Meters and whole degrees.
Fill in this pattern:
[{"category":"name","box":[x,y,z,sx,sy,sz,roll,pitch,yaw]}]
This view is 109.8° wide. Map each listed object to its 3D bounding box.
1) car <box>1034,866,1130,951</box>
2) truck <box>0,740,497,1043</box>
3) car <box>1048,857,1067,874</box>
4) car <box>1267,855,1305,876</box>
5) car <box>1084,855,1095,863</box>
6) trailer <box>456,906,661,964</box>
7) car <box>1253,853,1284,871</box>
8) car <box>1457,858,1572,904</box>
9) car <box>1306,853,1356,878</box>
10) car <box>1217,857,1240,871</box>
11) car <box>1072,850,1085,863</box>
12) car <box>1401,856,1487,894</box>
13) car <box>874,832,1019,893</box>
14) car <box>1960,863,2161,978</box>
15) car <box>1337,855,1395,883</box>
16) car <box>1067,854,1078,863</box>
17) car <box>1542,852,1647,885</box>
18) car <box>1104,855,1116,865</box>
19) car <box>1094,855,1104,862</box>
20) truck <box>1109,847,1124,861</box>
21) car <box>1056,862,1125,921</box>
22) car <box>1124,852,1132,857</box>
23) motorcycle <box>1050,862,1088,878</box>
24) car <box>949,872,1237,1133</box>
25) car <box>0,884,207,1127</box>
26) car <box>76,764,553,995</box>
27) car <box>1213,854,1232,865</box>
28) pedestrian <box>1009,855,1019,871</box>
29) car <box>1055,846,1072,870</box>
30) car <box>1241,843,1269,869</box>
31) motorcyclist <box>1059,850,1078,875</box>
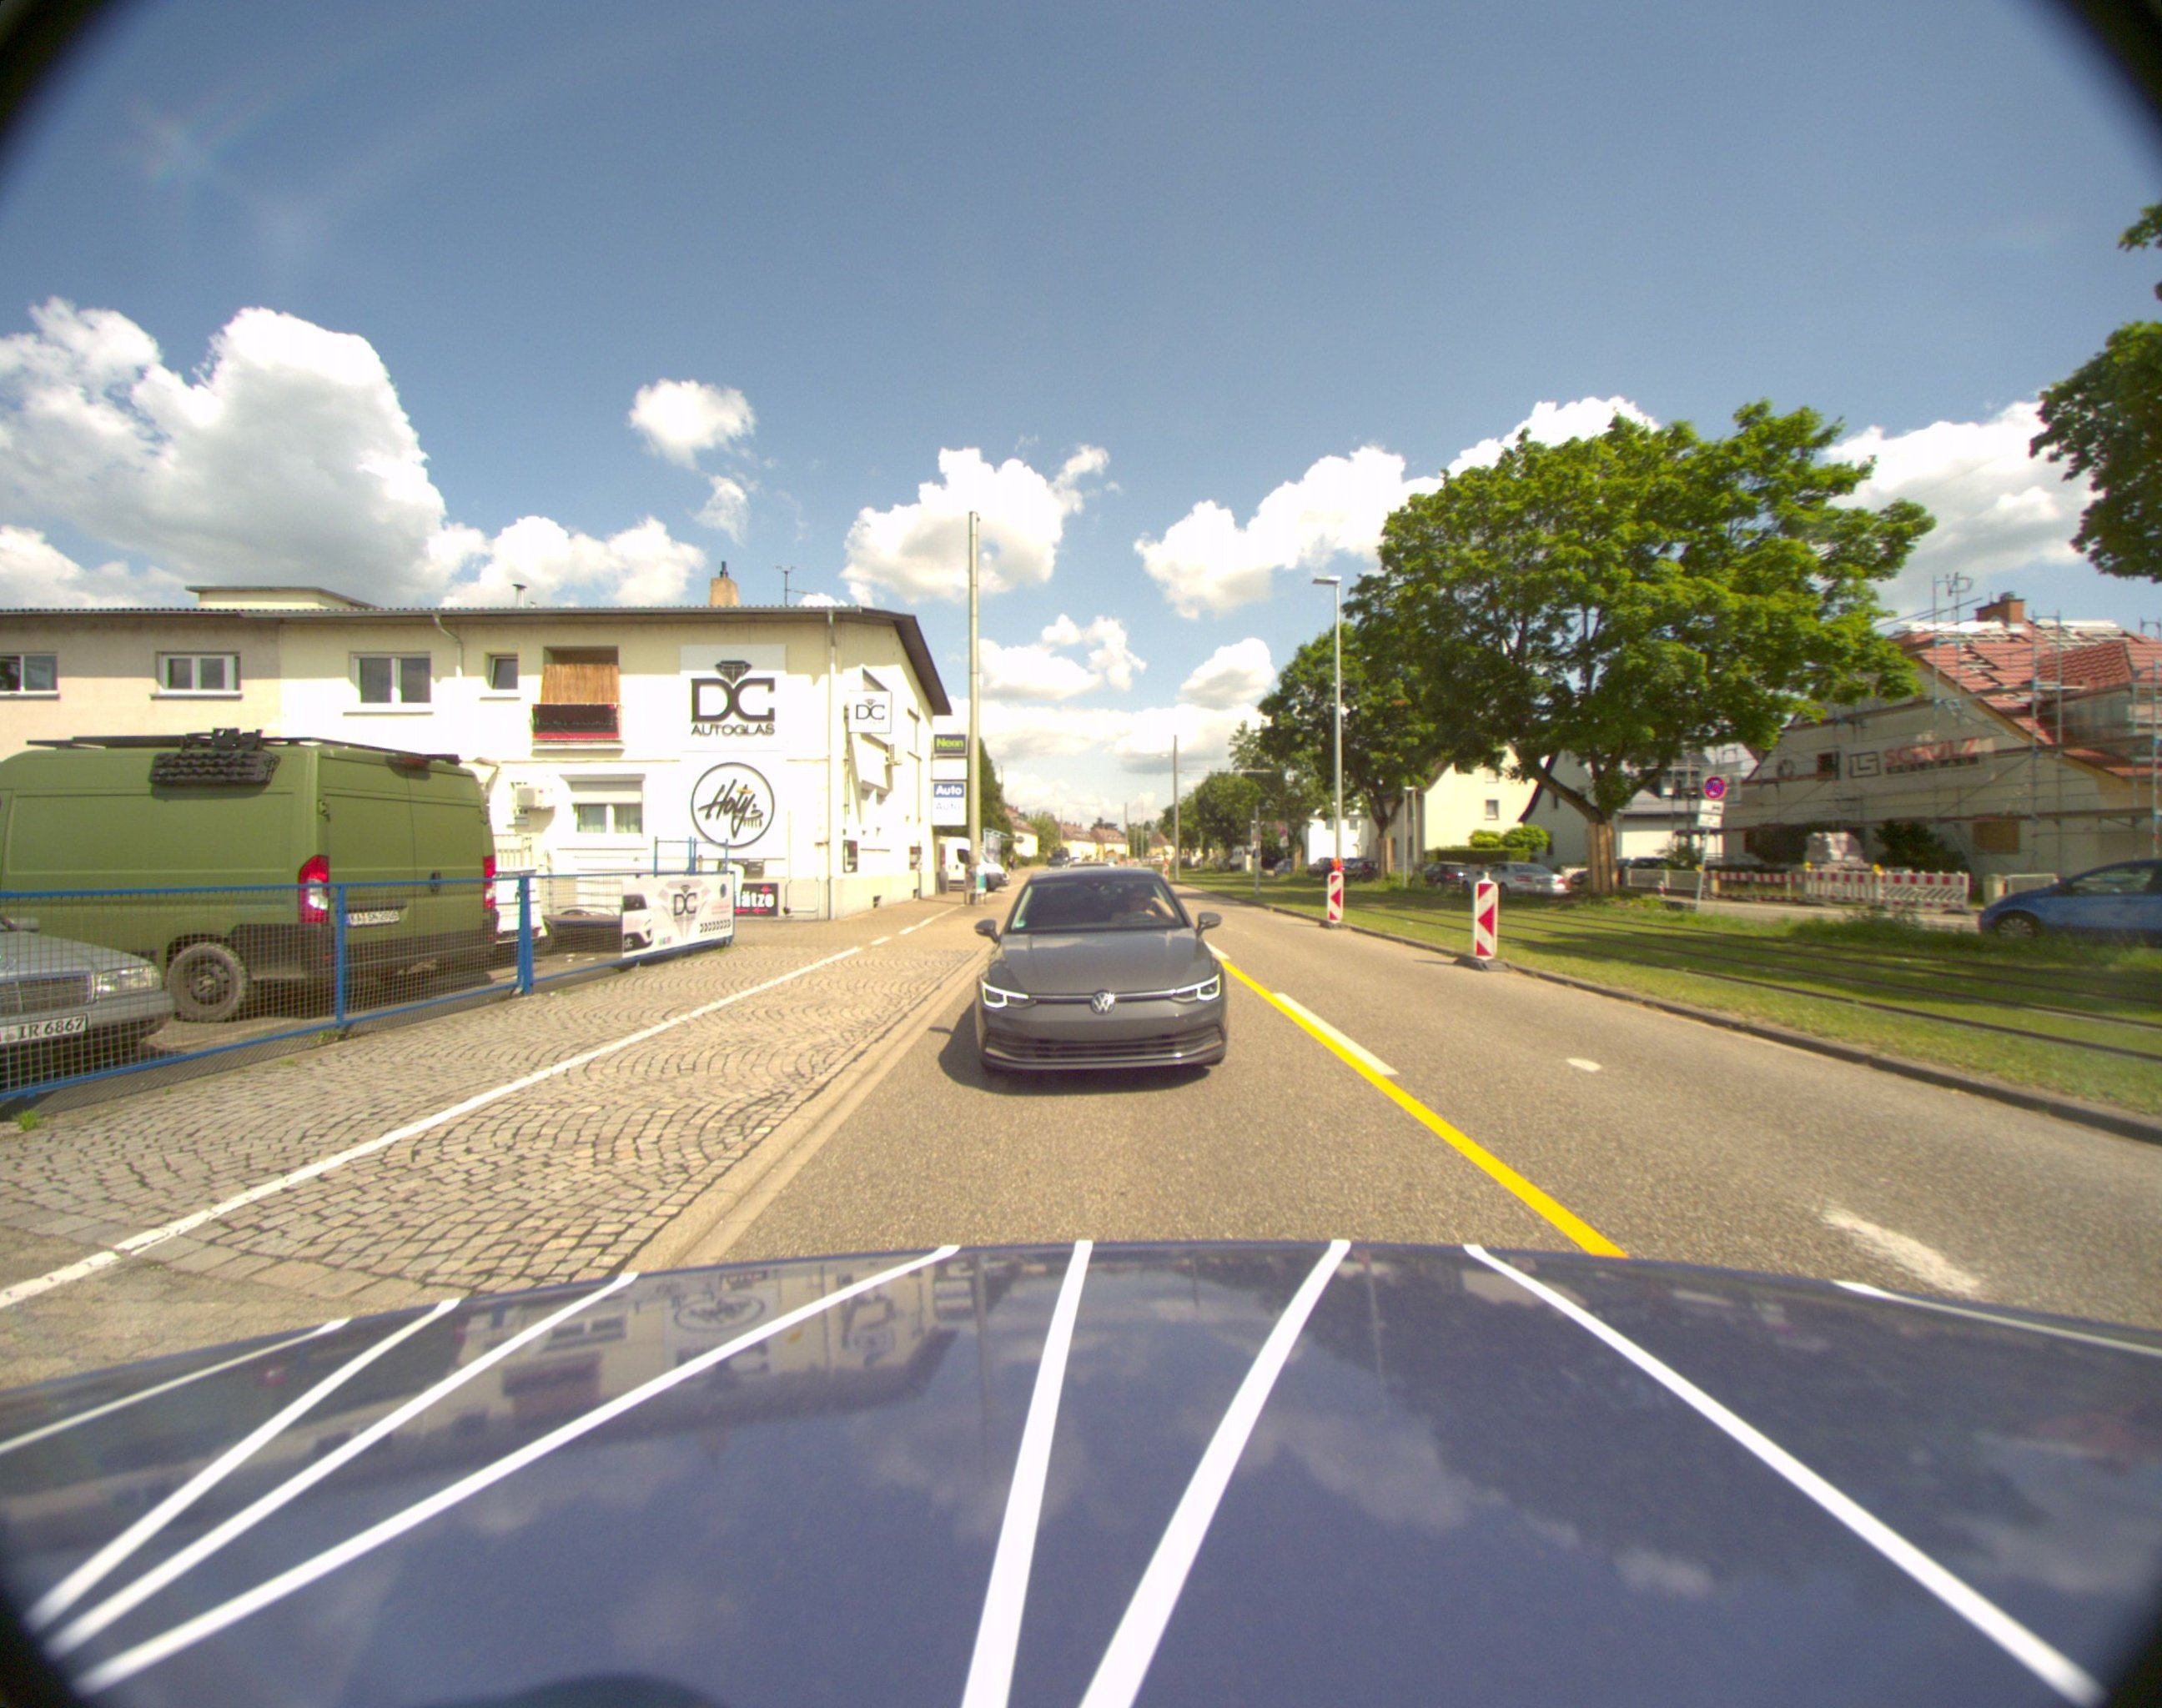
[{"category":"car","box":[0.036,1.007,15.645,1.719,1.470,4.009,0,0,1]},{"category":"truck","box":[-8.625,0.329,7.568,3.997,2.592,2.069,0,0,1]},{"category":"car","box":[-2.161,1.067,70.989,1.720,1.470,4.009,0,0,0]},{"category":"car","box":[16.494,0.919,61.358,1.755,1.602,4.606,0,0,0]},{"category":"car","box":[1.816,0.991,155.304,1.718,1.470,4.011,0,0,8]},{"category":"trailer","box":[-8.064,1.238,11.838,2.329,0.762,1.269,0,0,2]},{"category":"car","box":[17.584,0.758,71.498,1.755,1.602,4.606,0,0,0]},{"category":"car","box":[16.387,0.967,29.009,1.755,1.602,4.606,0,0,0]},{"category":"car","box":[16.678,0.766,50.909,1.755,1.602,4.606,0,0,0]},{"category":"car","box":[16.932,1.155,87.272,1.755,1.602,4.606,0,0,0]},{"category":"car","box":[-0.428,0.402,136.325,1.719,2.360,5.211,0,0,5]},{"category":"car","box":[16.589,0.919,35.031,1.755,1.602,4.606,0,0,0]},{"category":"car","box":[-5.933,0.382,33.982,5.982,2.362,2.000,3,0,3]},{"category":"car","box":[16.226,0.960,11.234,1.755,1.602,4.050,0,0,0]},{"category":"car","box":[16.900,0.853,45.269,1.755,1.602,4.606,0,0,0]},{"category":"car","box":[-1.365,0.740,122.961,1.720,1.470,4.009,0,0,0]},{"category":"car","box":[25.510,0.723,37.834,4.047,1.602,1.757,0,0,1]},{"category":"car","box":[4.383,0.908,115.018,1.719,1.405,4.262,0,0,1]},{"category":"car","box":[4.107,0.998,172.738,1.718,1.470,4.011,0,0,8]},{"category":"truck","box":[9.408,0.025,201.137,2.590,3.431,8.585,0,0,11]},{"category":"car","box":[0.268,0.989,21.494,1.787,1.470,4.009,0,0,1]},{"category":"car","box":[13.534,0.239,218.479,1.718,1.470,4.013,0,0,13]},{"category":"motorcycle","box":[-0.965,1.234,58.428,2.894,1.164,0.888,0,0,31]},{"category":"car","box":[0.098,0.938,6.558,1.719,1.470,4.009,0,0,1]},{"category":"car","box":[-8.438,0.918,4.812,4.206,1.388,1.804,0,0,8]},{"category":"car","box":[-9.456,0.302,9.654,4.209,2.653,1.803,0,0,0]},{"category":"car","box":[19.959,0.785,107.174,1.755,1.602,4.606,0,0,0]},{"category":"pedestrian","box":[-6.329,0.847,72.078,0.816,1.577,0.918,0,0,1]},{"category":"car","box":[-1.918,0.412,82.851,1.720,2.526,5.794,0,0,0]},{"category":"car","box":[17.645,0.200,77.045,1.755,2.601,4.606,0,0,0]},{"category":"motorcyclist","box":[-0.948,0.619,58.409,1.110,1.900,0.881,0,1,31]}]
